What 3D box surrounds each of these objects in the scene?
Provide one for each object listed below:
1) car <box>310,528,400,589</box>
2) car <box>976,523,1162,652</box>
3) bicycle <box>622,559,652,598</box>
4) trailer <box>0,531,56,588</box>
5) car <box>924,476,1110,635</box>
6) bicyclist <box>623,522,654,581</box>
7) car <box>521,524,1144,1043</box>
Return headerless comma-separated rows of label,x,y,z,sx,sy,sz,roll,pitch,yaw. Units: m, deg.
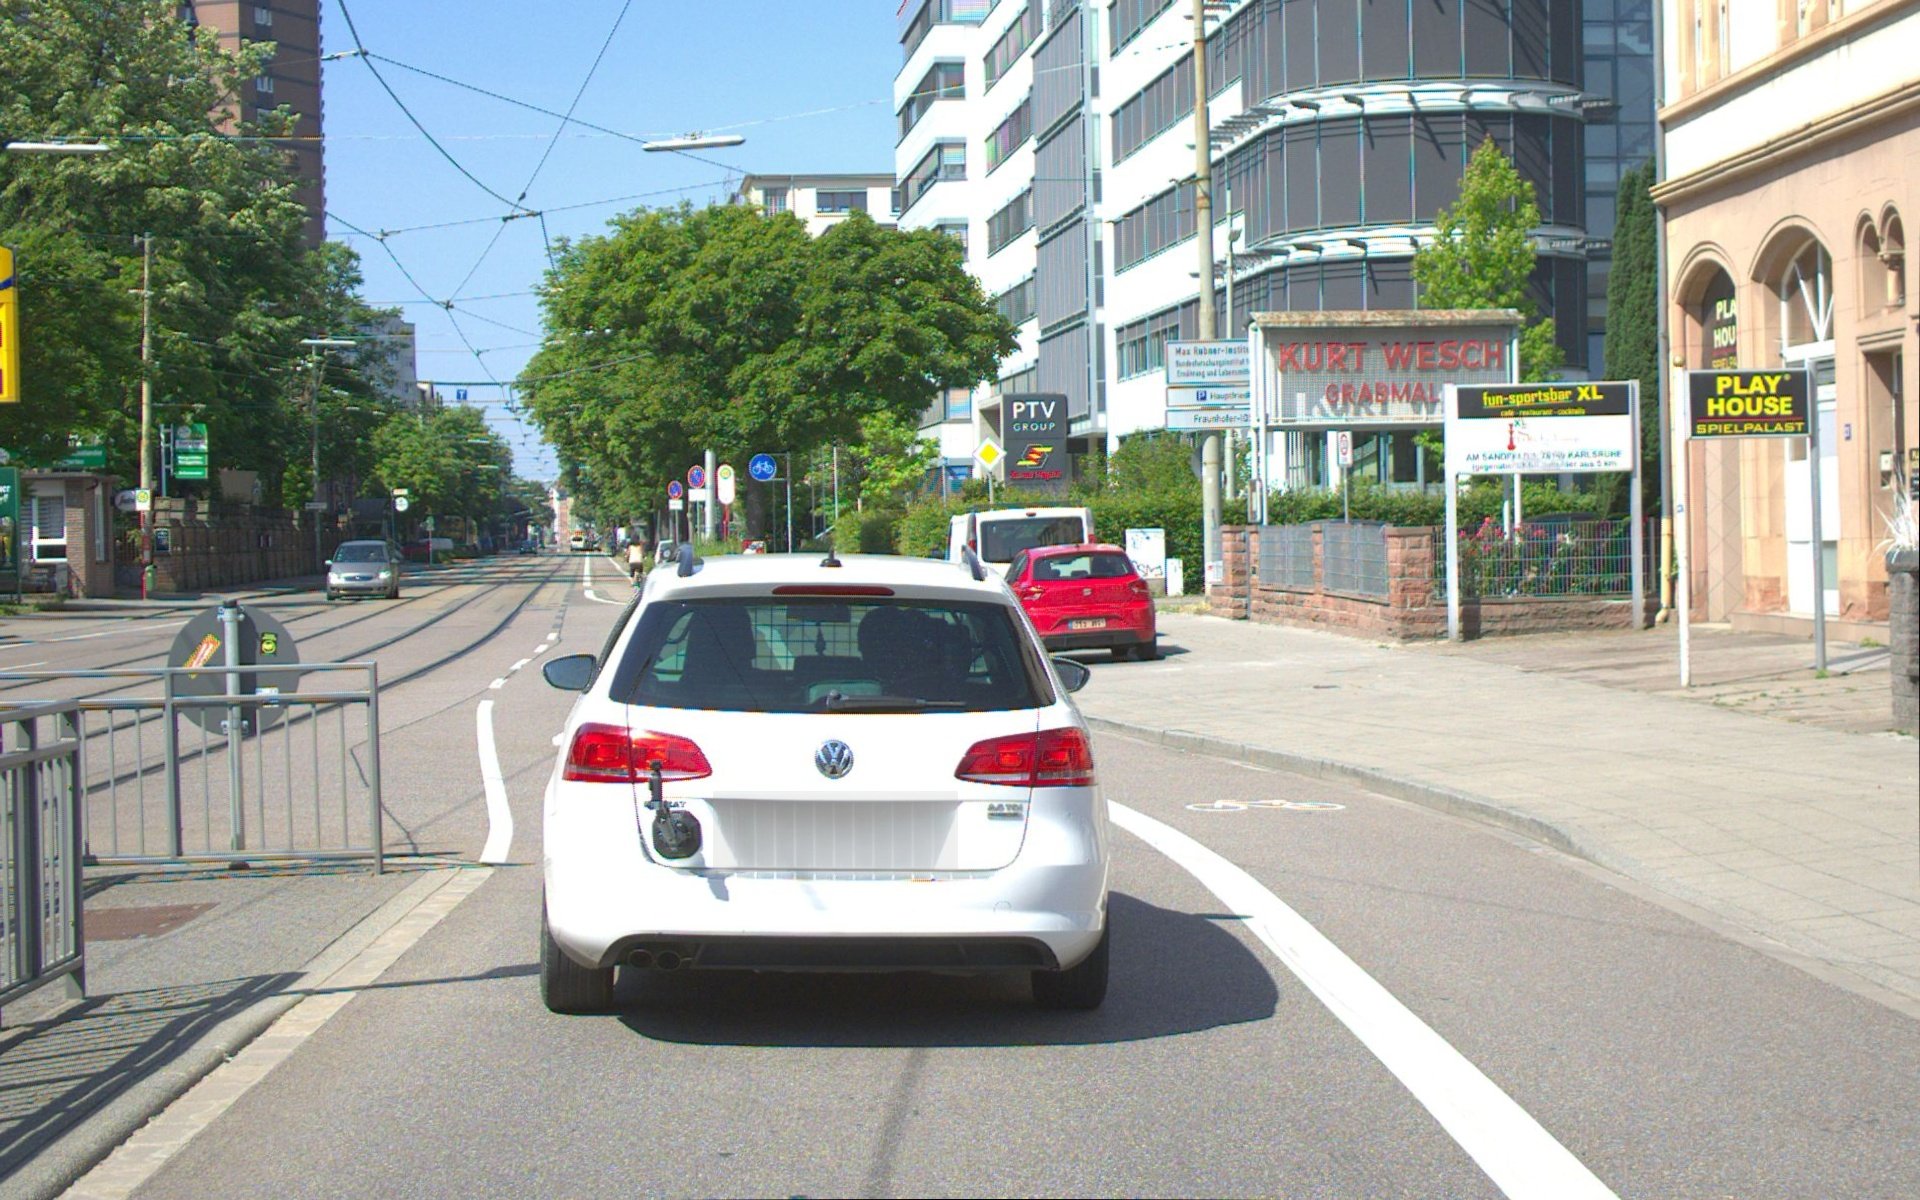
car,-16.442,-1.122,93.551,1.746,1.566,3.892,-2,1,-1
car,1.305,-0.190,42.805,1.721,1.438,4.313,-3,1,-5
bicycle,-9.196,-0.611,97.849,0.811,1.074,2.012,-1,1,-5
trailer,-26.268,-1.100,93.045,3.215,1.520,1.778,-1,1,-5
car,0.744,-0.649,48.955,1.976,2.047,5.192,-3,1,-6
bicyclist,-9.160,-1.389,97.904,0.785,1.623,0.738,3,0,-5
car,-0.543,0.468,11.899,1.753,1.437,4.414,0,2,-5
